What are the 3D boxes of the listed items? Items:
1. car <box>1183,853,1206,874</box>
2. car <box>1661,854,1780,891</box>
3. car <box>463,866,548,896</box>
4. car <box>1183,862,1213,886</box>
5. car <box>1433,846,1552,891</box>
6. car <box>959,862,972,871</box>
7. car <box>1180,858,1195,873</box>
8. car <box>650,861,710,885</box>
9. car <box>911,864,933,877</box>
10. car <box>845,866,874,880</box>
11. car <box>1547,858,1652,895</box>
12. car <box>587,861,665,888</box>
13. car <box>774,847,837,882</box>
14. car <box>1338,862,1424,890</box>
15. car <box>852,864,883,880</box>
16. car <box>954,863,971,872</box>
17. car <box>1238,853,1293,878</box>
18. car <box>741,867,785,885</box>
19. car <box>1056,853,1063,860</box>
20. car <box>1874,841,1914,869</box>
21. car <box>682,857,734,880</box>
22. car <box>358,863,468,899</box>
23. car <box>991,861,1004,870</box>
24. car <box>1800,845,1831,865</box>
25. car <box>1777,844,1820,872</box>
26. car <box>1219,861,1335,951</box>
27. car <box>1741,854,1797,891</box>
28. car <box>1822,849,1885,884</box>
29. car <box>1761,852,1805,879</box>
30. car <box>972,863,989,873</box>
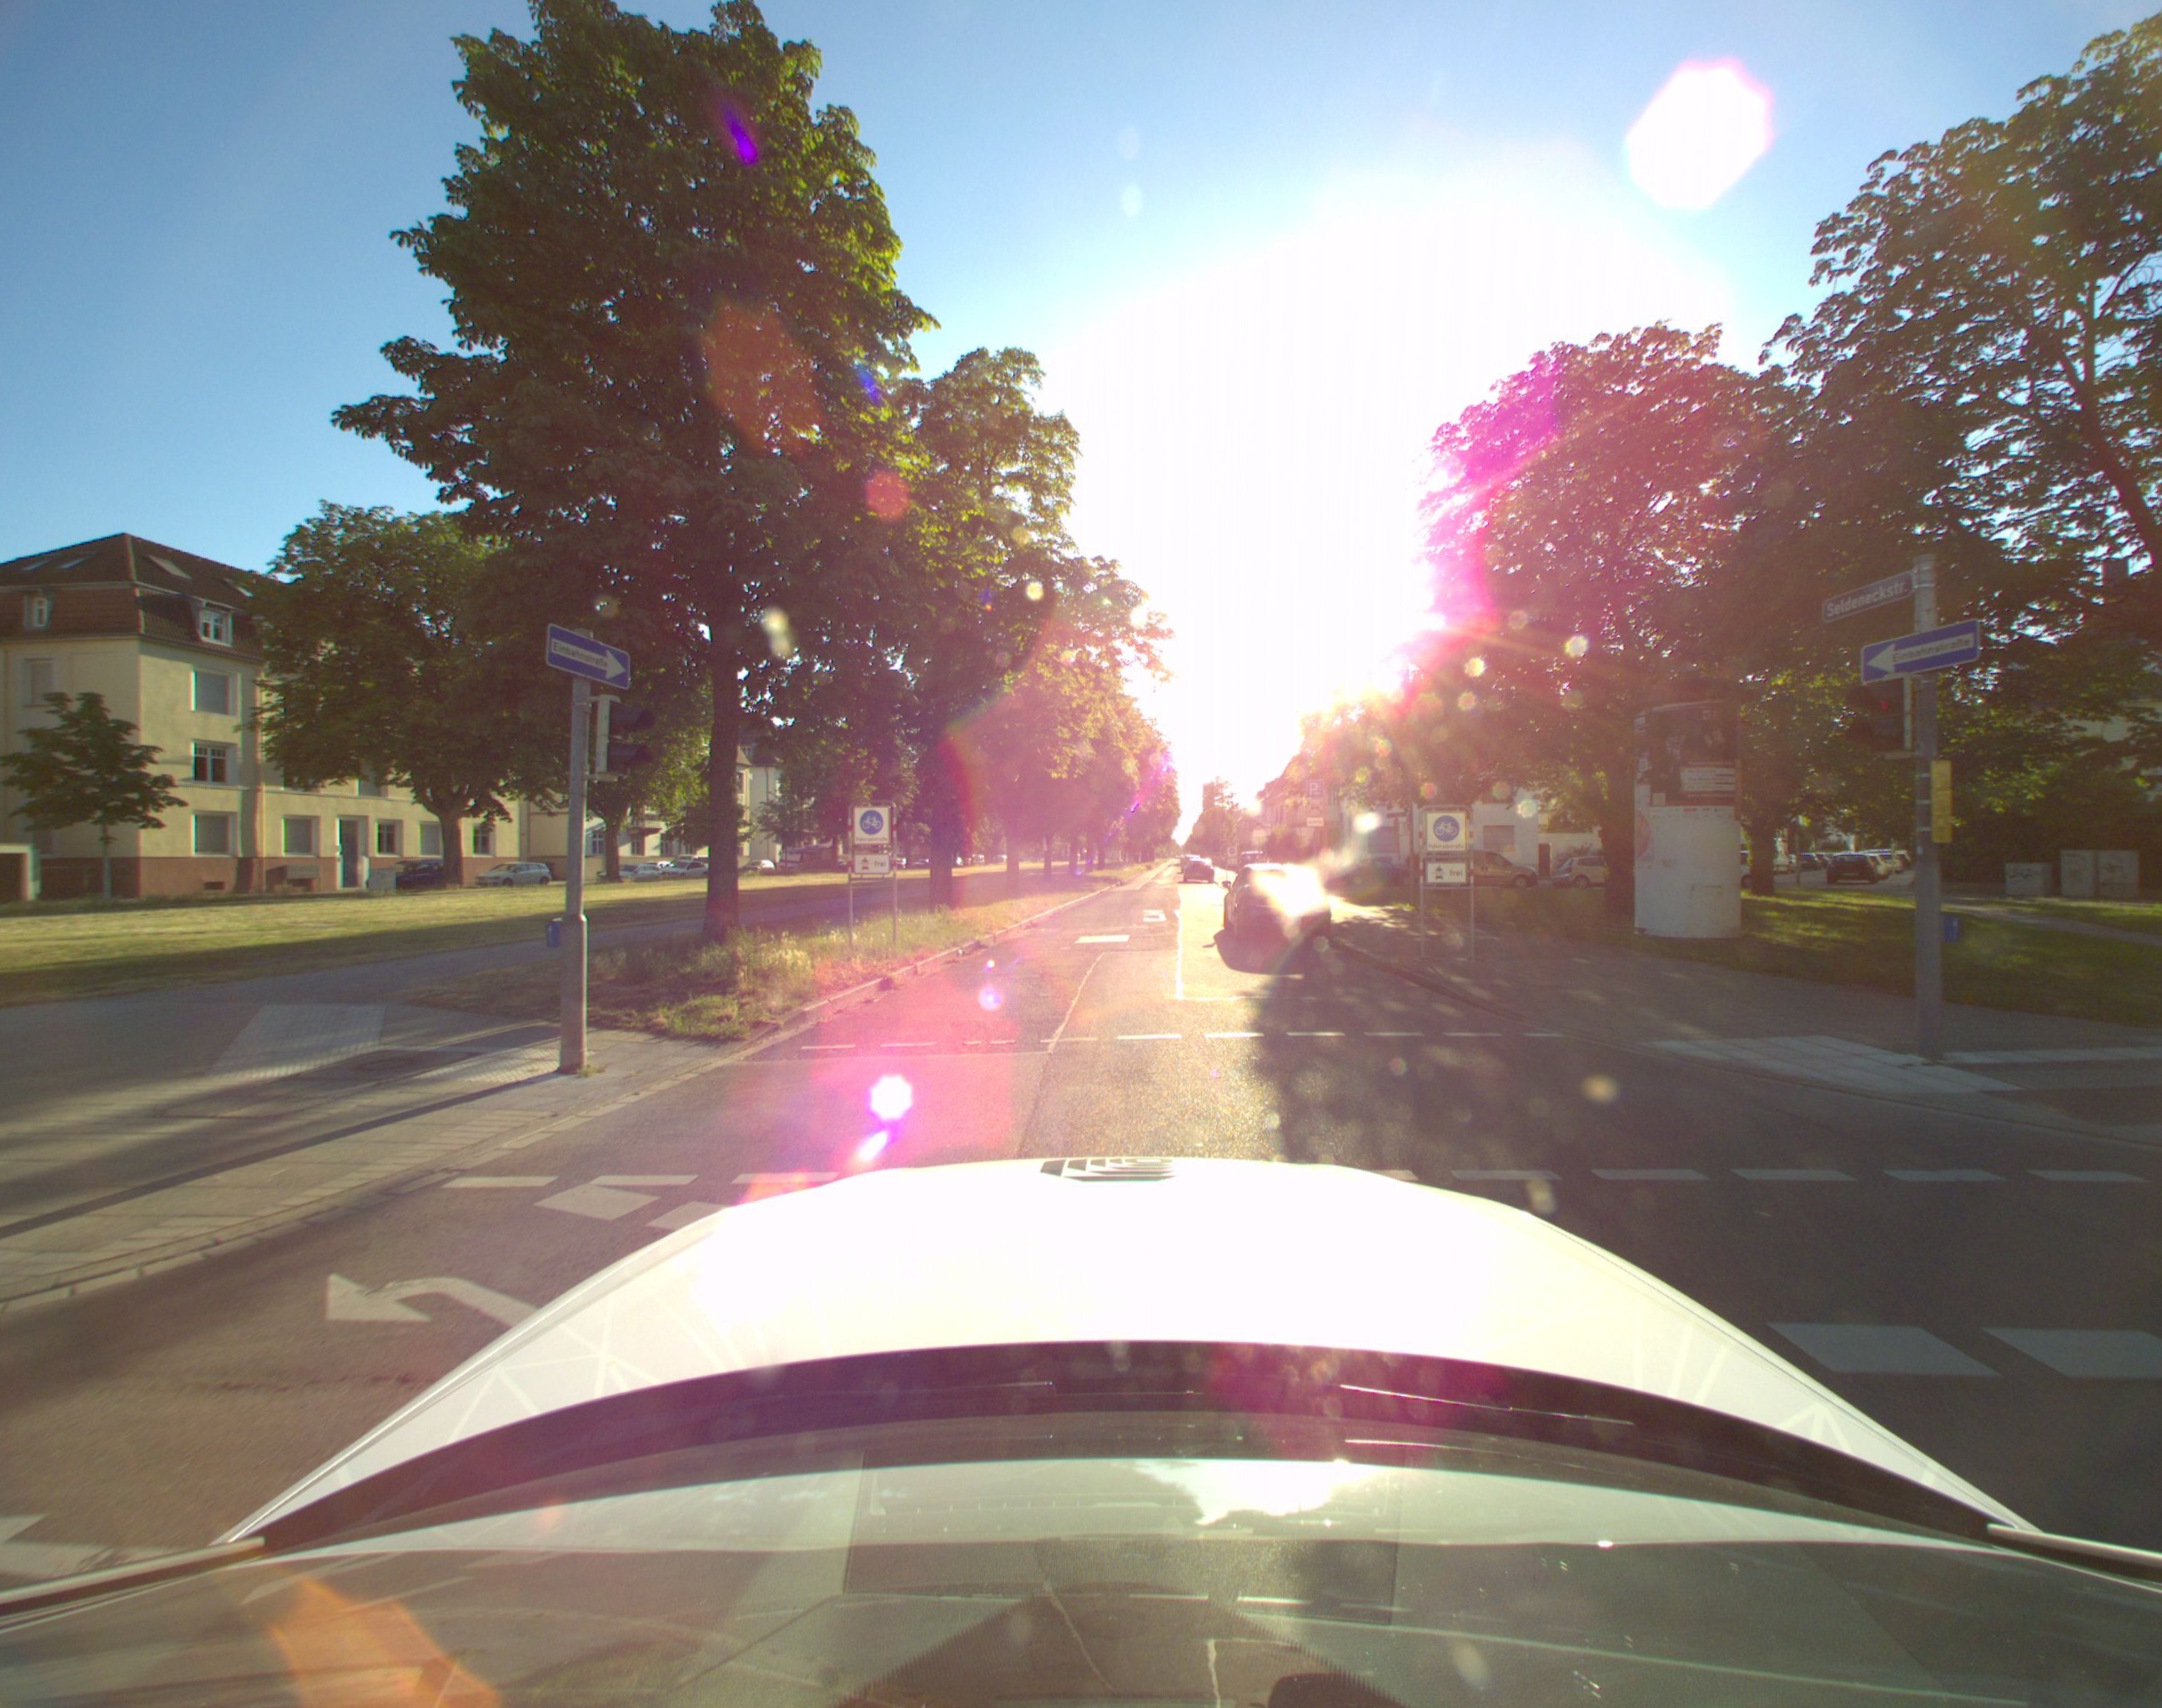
[{"bbox_3d":[10.495,0.881,75.646,1.983,1.781,4.007,1,1,6],"label":"car"},{"bbox_3d":[27.410,0.808,34.972,3.906,1.524,1.524,0,-1,1],"label":"car"},{"bbox_3d":[-35.449,1.621,50.319,1.982,1.659,4.009,1,0,8],"label":"car"},{"bbox_3d":[7.144,1.173,49.959,1.700,1.359,4.211,1,0,7],"label":"car"},{"bbox_3d":[18.041,0.620,35.892,4.219,1.875,2.034,-1,-1,6],"label":"car"},{"bbox_3d":[-22.316,2.431,157.811,1.631,1.643,3.860,1,0,5],"label":"car"},{"bbox_3d":[15.551,1.660,119.200,1.983,2.013,4.007,1,0,6],"label":"car"},{"bbox_3d":[-28.734,1.328,58.539,1.787,1.554,4.426,2,1,5],"label":"car"},{"bbox_3d":[-22.160,2.306,113.762,1.801,1.781,4.131,1,0,8],"label":"car"},{"bbox_3d":[-28.268,2.411,104.172,1.982,1.659,4.384,1,0,8],"label":"car"},{"bbox_3d":[22.317,0.942,35.143,3.540,1.516,1.606,-1,0,1],"label":"car"},{"bbox_3d":[-29.440,1.281,52.868,1.982,1.659,4.581,1,0,8],"label":"car"},{"bbox_3d":[-26.265,0.900,78.046,2.379,3.130,7.869,2,1,7],"label":"car"},{"bbox_3d":[15.670,1.133,42.721,3.966,1.447,1.719,0,-1,6],"label":"car"},{"bbox_3d":[-24.440,2.049,93.513,1.869,1.674,4.324,1,0,7],"label":"car"},{"bbox_3d":[-21.847,2.479,150.244,1.982,1.659,4.365,1,0,8],"label":"car"},{"bbox_3d":[14.627,0.932,64.662,3.971,1.822,1.760,-1,-5,2],"label":"car"},{"bbox_3d":[-31.314,2.168,80.363,1.982,1.659,4.581,1,0,8],"label":"car"},{"bbox_3d":[-6.093,0.719,230.250,1.646,1.938,3.573,1,-1,6],"label":"car"},{"bbox_3d":[56.959,0.068,57.115,1.906,1.855,4.023,1,-1,44],"label":"car"},{"bbox_3d":[-33.177,1.239,72.590,1.984,1.950,4.885,0,0,5],"label":"car"},{"bbox_3d":[-36.043,1.411,44.101,1.982,1.736,4.321,1,0,8],"label":"car"},{"bbox_3d":[-16.799,2.362,163.651,1.720,1.689,3.884,1,-1,5],"label":"car"},{"bbox_3d":[63.351,0.098,70.264,3.865,1.623,1.738,2,0,-44],"label":"car"},{"bbox_3d":[54.644,0.325,62.014,4.021,2.014,1.976,2,0,-42],"label":"car"},{"bbox_3d":[3.836,0.934,16.632,1.717,1.511,4.548,1,0,6],"label":"car"},{"bbox_3d":[46.648,1.249,55.172,4.541,2.337,2.088,2,0,-40],"label":"car"},{"bbox_3d":[37.570,0.581,39.580,4.022,1.552,1.976,-2,1,-43],"label":"car"},{"bbox_3d":[50.599,0.830,58.697,3.958,1.876,1.893,2,0,-42],"label":"car"},{"bbox_3d":[-17.762,2.390,144.262,2.012,1.659,3.992,1,0,7],"label":"car"}]
